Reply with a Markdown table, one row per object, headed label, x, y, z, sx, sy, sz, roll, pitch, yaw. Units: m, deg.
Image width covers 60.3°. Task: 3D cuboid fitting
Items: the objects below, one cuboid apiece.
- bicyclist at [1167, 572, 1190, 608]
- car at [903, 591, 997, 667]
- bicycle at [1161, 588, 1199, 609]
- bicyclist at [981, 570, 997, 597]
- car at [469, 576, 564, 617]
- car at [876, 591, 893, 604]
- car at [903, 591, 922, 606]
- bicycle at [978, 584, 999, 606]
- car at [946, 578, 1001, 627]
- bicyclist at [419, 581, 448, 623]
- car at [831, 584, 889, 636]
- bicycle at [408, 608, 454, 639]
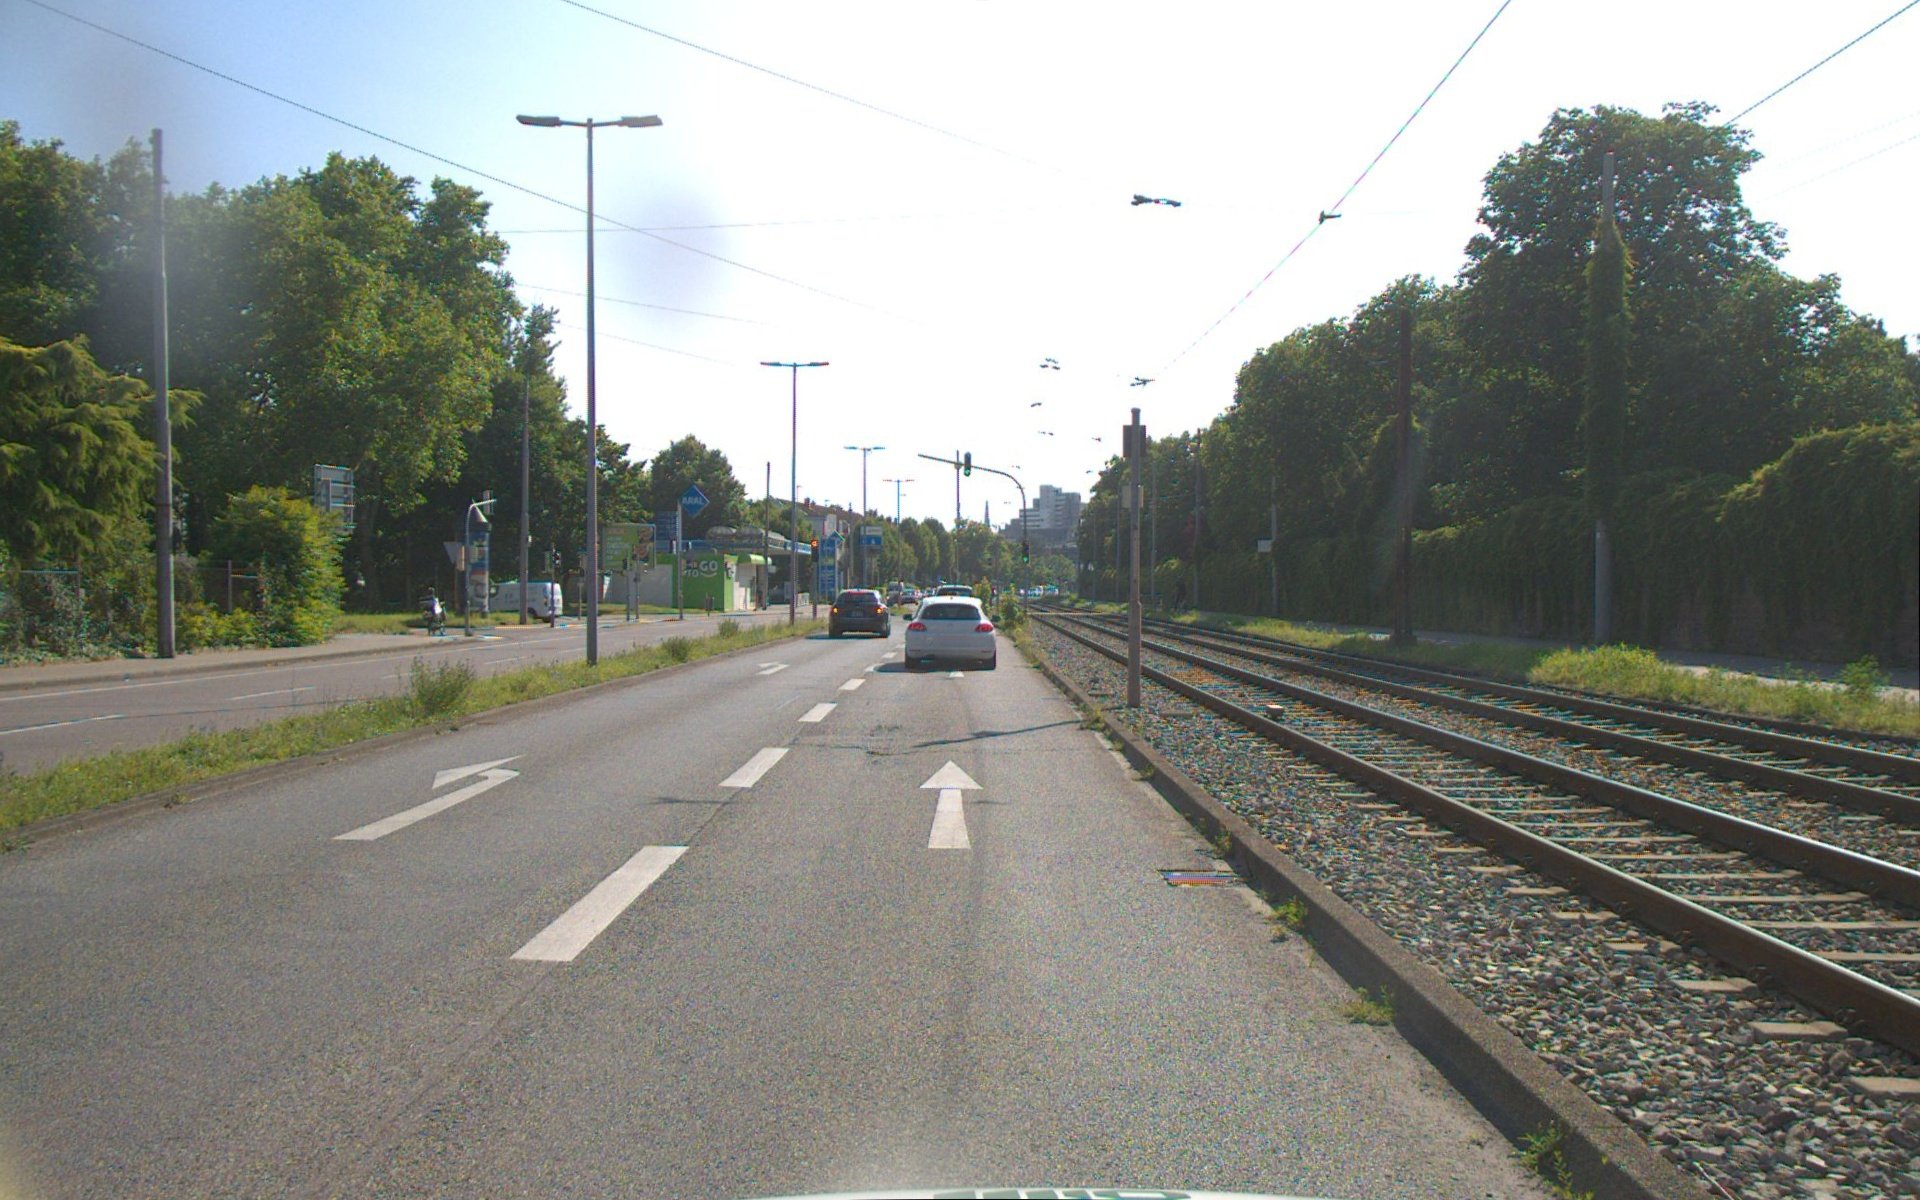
| label | x | y | z | sx | sy | sz | roll | pitch | yaw |
| --- | --- | --- | --- | --- | --- | --- | --- | --- | --- |
| bicyclist | 12.125 | -0.552 | 91.807 | 1.012 | 2.028 | 0.947 | 0 | 0 | 25 |
| car | -0.198 | 0.538 | 33.006 | 1.744 | 1.380 | 3.601 | 1 | 1 | 0 |
| bicycle | 12.193 | -0.088 | 91.773 | 1.883 | 1.134 | 0.947 | 0 | 0 | 25 |
| bicyclist | 1.556 | -0.899 | 88.853 | 0.629 | 1.441 | 1.013 | -2 | -1 | 16 |
| car | -22.448 | -0.174 | 83.744 | 4.295 | 1.997 | 1.825 | 0 | 0 | 16 |
| car | -8.041 | -0.277 | 176.744 | 1.541 | 1.441 | 3.334 | 0 | 0 | 1 |
| car | -4.627 | -0.153 | 160.820 | 1.619 | 1.419 | 4.134 | 0 | 1 | 1 |
| bicycle | 1.546 | -0.284 | 88.772 | 0.629 | 1.174 | 1.938 | 0 | 0 | 15 |
| car | 0.454 | 0.069 | 58.504 | 1.690 | 1.620 | 3.599 | 1 | 1 | -3 |
| bicyclist | -18.765 | 0.054 | 58.937 | 0.648 | 1.478 | 1.051 | 0 | 0 | 4 |
| car | -3.141 | 0.277 | 52.210 | 1.725 | 1.511 | 4.642 | 1 | 1 | -3 |
| bicycle | -18.781 | 0.819 | 58.767 | 0.648 | 1.067 | 2.582 | 0 | 0 | 4 |
